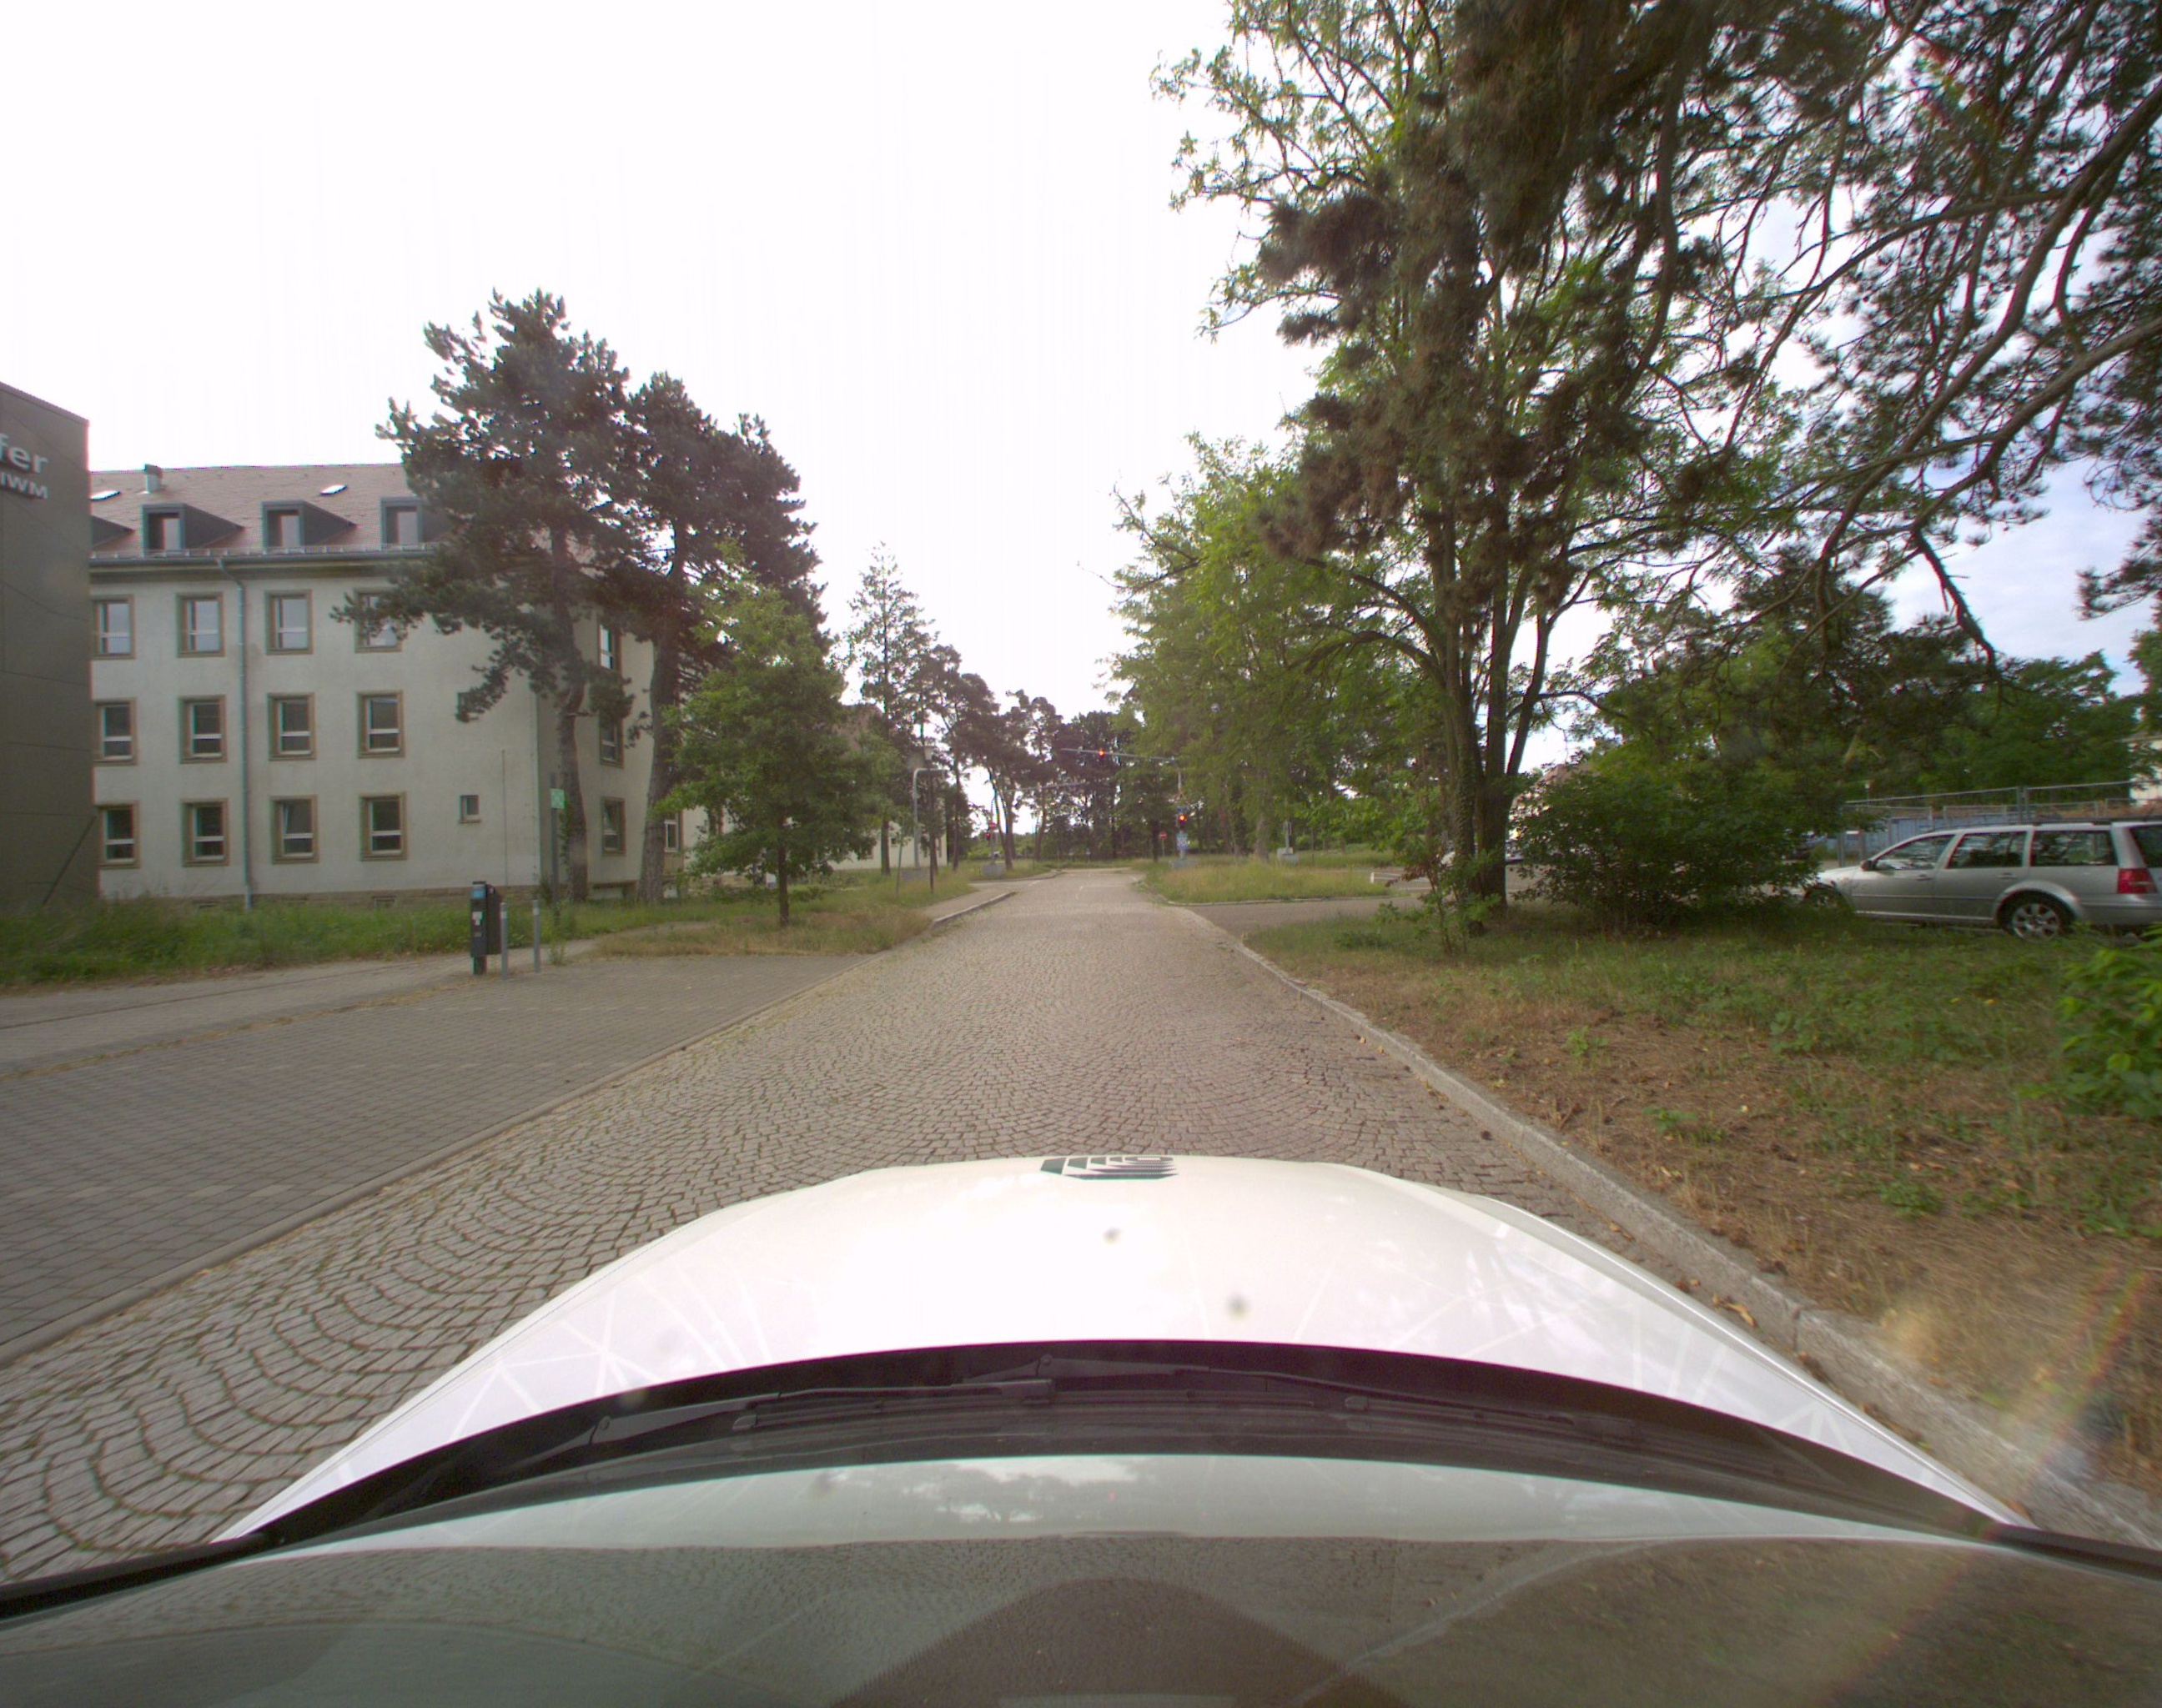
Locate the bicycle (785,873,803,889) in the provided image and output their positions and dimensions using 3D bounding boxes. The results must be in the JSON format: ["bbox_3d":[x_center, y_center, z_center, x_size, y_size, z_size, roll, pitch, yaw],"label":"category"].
[{"bbox_3d":[-19.564,1.831,55.521,0.512,1.079,1.587,-2,-1,4],"label":"bicycle"}]

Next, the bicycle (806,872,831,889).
[{"bbox_3d":[-17.492,1.773,54.220,1.460,1.079,0.516,-2,-1,-1],"label":"bicycle"}]

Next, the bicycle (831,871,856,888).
[{"bbox_3d":[-15.856,1.688,54.383,1.460,1.065,0.516,-2,-1,-1],"label":"bicycle"}]

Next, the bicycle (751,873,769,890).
[{"bbox_3d":[-21.880,1.881,55.557,0.512,1.079,1.586,-2,-1,1],"label":"bicycle"}]

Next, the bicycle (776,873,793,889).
[{"bbox_3d":[-20.266,1.837,55.616,0.512,1.079,1.586,-2,-1,1],"label":"bicycle"}]

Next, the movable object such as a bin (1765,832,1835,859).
[{"bbox_3d":[31.209,-0.337,35.393,0.959,1.134,2.207,0,-1,-8],"label":"movable object such as a bin"}]

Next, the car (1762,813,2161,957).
[{"bbox_3d":[11.538,0.307,10.496,1.669,1.451,4.486,-2,0,-1],"label":"car"}]

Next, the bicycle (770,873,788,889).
[{"bbox_3d":[-20.627,1.839,55.621,0.512,1.079,1.586,-2,-1,1],"label":"bicycle"}]

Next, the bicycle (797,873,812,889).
[{"bbox_3d":[-18.885,1.827,55.608,0.513,1.079,1.584,-2,-1,-2],"label":"bicycle"}]

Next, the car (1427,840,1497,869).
[{"bbox_3d":[22.302,0.085,47.921,1.843,1.487,4.605,-1,-3,-2],"label":"car"}]
